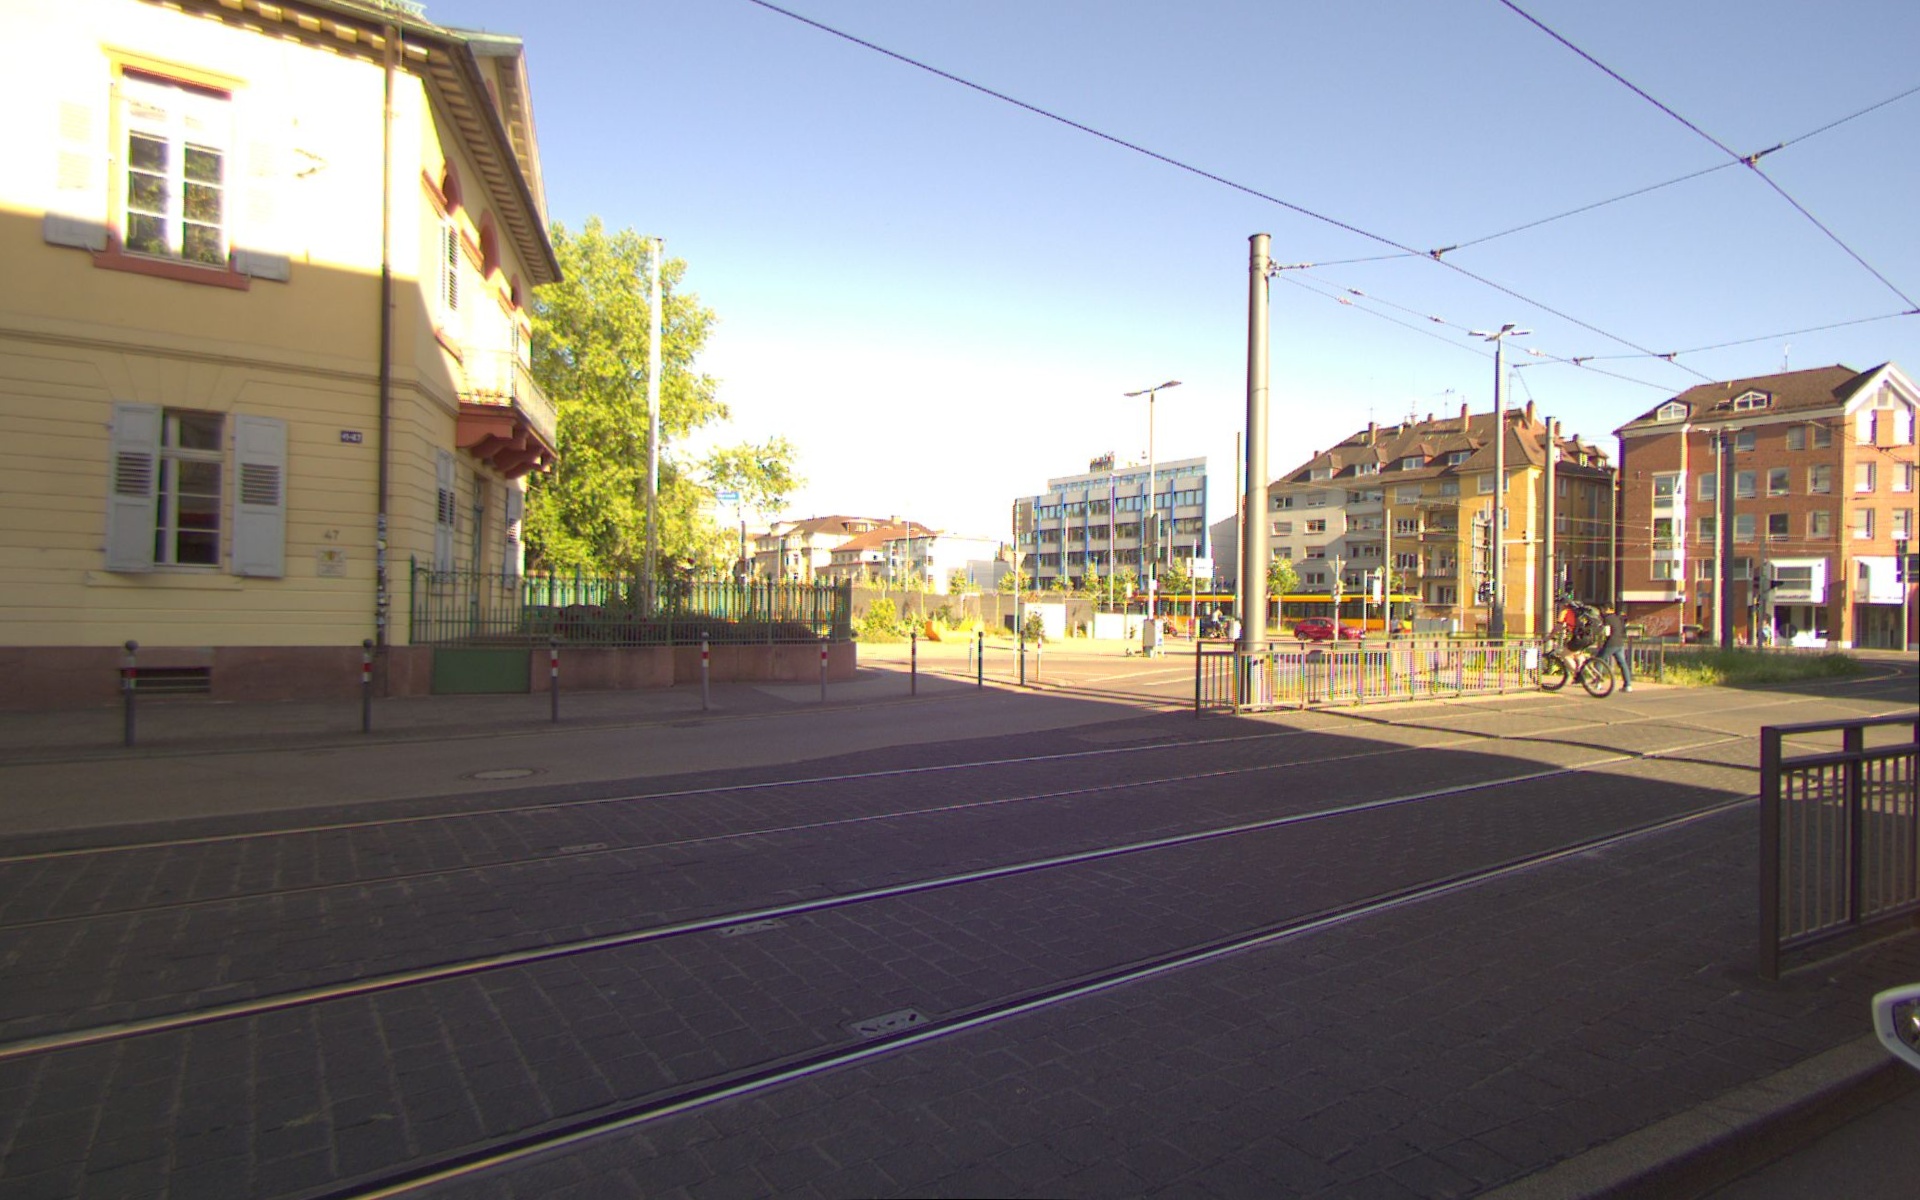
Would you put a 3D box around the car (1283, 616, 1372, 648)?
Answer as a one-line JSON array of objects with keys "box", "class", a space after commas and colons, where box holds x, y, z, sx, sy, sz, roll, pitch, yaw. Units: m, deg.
[{"box": [21.869, 1.884, 59.896, 1.984, 1.723, 4.545, 2, 0, -41], "class": "car"}]

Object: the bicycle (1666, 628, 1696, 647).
[{"box": [39.721, 2.063, 55.334, 2.220, 0.984, 0.444, 2, 0, -31], "class": "bicycle"}]

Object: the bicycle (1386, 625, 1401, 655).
[{"box": [18.591, 1.716, 43.086, 0.476, 1.238, 1.853, 2, 0, 26], "class": "bicycle"}]

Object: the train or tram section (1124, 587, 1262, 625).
[{"box": [20.674, 0.467, 90.658, 2.708, 3.172, 13.572, 2, 0, -37], "class": "train or tram section"}]

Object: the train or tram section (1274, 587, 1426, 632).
[{"box": [29.952, 0.682, 77.869, 2.779, 3.172, 11.148, 2, 0, -37], "class": "train or tram section"}]

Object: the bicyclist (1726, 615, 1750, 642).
[{"box": [45.559, 1.665, 58.823, 0.688, 1.523, 0.894, 2, 0, -30], "class": "bicyclist"}]

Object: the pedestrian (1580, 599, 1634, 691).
[{"box": [12.294, 0.850, 19.088, 0.766, 1.703, 0.587, 2, 0, -33], "class": "pedestrian"}]

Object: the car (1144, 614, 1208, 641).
[{"box": [14.744, 1.870, 68.569, 1.895, 1.708, 3.916, 2, 0, -41], "class": "car"}]

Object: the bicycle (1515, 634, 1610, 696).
[{"box": [10.753, 1.144, 17.973, 0.397, 1.007, 1.597, 2, 0, -16], "class": "bicycle"}]

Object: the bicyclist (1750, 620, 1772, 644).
[{"box": [50.375, 1.986, 63.143, 0.958, 1.490, 0.702, 1, 0, -22], "class": "bicyclist"}]

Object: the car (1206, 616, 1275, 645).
[{"box": [18.004, 1.941, 64.578, 1.762, 1.694, 3.955, 2, 0, -39], "class": "car"}]

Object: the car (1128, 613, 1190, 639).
[{"box": [12.868, 1.669, 65.185, 1.631, 1.546, 3.822, 2, 0, -38], "class": "car"}]

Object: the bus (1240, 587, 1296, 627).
[{"box": [25.657, 0.583, 83.764, 2.745, 3.172, 3.491, 2, 0, -36], "class": "bus"}]

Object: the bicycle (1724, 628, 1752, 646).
[{"box": [45.576, 2.169, 58.834, 2.220, 0.984, 0.521, 2, 0, -31], "class": "bicycle"}]

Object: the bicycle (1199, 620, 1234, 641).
[{"box": [16.207, 1.950, 63.567, 0.542, 1.230, 2.168, 2, 0, -41], "class": "bicycle"}]

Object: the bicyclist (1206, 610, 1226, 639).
[{"box": [16.184, 1.550, 63.597, 0.785, 1.832, 0.892, 2, 0, -42], "class": "bicyclist"}]

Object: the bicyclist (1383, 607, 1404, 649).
[{"box": [18.652, 1.200, 43.181, 0.744, 1.783, 0.752, 2, 0, 27], "class": "bicyclist"}]

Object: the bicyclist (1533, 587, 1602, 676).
[{"box": [10.794, 0.545, 17.877, 0.385, 1.542, 1.040, 2, 0, -16], "class": "bicyclist"}]

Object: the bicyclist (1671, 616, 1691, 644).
[{"box": [39.681, 1.645, 55.310, 0.688, 1.523, 0.630, 2, 0, -30], "class": "bicyclist"}]

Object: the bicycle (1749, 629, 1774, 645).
[{"box": [50.367, 2.339, 63.116, 1.669, 0.994, 0.403, 2, 0, -22], "class": "bicycle"}]
